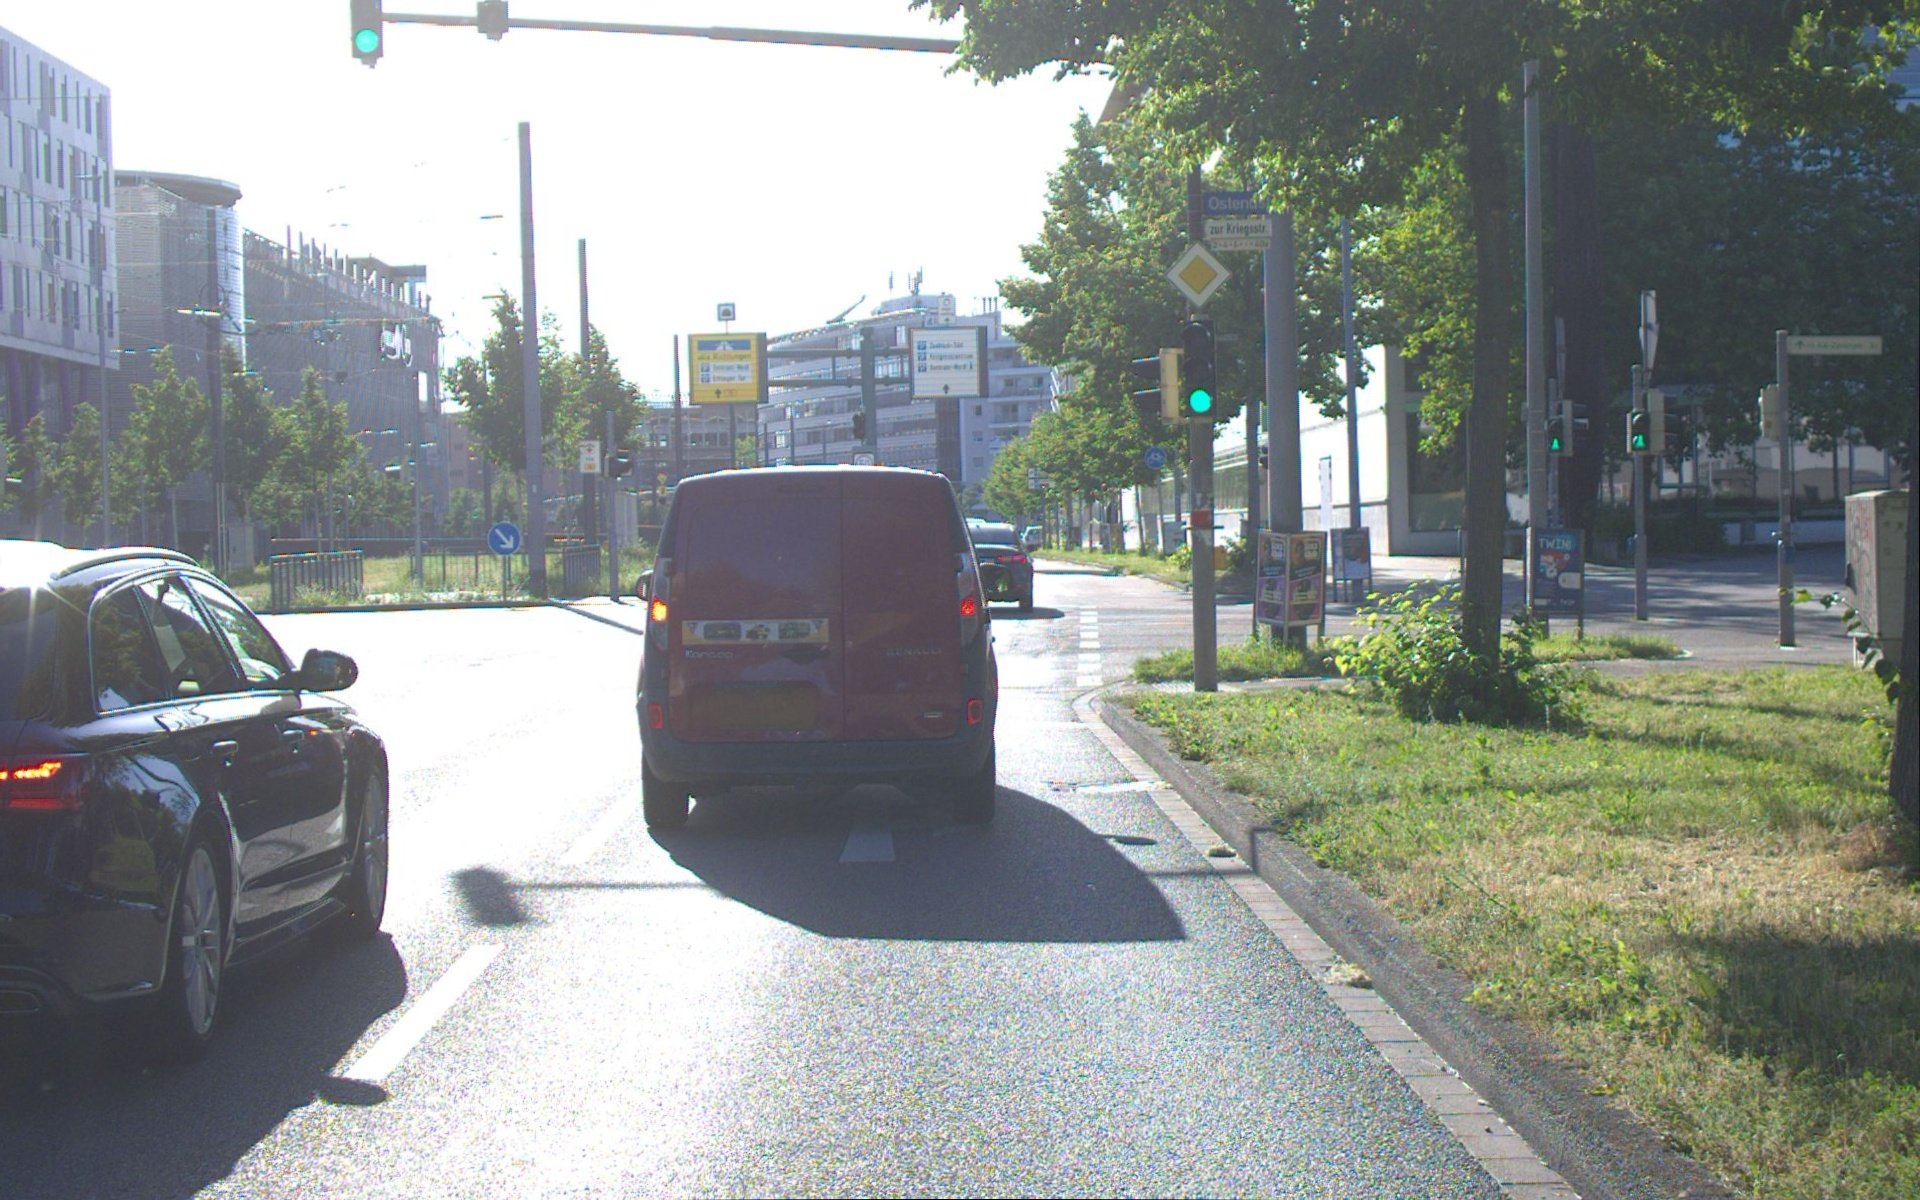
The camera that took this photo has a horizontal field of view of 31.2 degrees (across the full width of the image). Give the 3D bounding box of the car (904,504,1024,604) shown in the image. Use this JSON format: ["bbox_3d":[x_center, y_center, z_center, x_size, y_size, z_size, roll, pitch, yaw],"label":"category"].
[{"bbox_3d":[0.036,-0.754,54.973,1.852,1.541,4.000,0,1,-1],"label":"car"}]

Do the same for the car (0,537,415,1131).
[{"bbox_3d":[-2.989,0.528,10.729,1.812,1.422,4.690,0,1,0],"label":"car"}]

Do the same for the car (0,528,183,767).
[{"bbox_3d":[-6.328,0.241,22.559,1.671,1.421,4.006,0,1,-2],"label":"car"}]

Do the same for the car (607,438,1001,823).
[{"bbox_3d":[-0.769,0.100,18.257,1.848,1.808,4.115,0,1,-1],"label":"car"}]

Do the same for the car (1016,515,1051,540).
[{"bbox_3d":[4.641,-4.606,217.464,1.852,1.476,4.854,-3,2,-2],"label":"car"}]
